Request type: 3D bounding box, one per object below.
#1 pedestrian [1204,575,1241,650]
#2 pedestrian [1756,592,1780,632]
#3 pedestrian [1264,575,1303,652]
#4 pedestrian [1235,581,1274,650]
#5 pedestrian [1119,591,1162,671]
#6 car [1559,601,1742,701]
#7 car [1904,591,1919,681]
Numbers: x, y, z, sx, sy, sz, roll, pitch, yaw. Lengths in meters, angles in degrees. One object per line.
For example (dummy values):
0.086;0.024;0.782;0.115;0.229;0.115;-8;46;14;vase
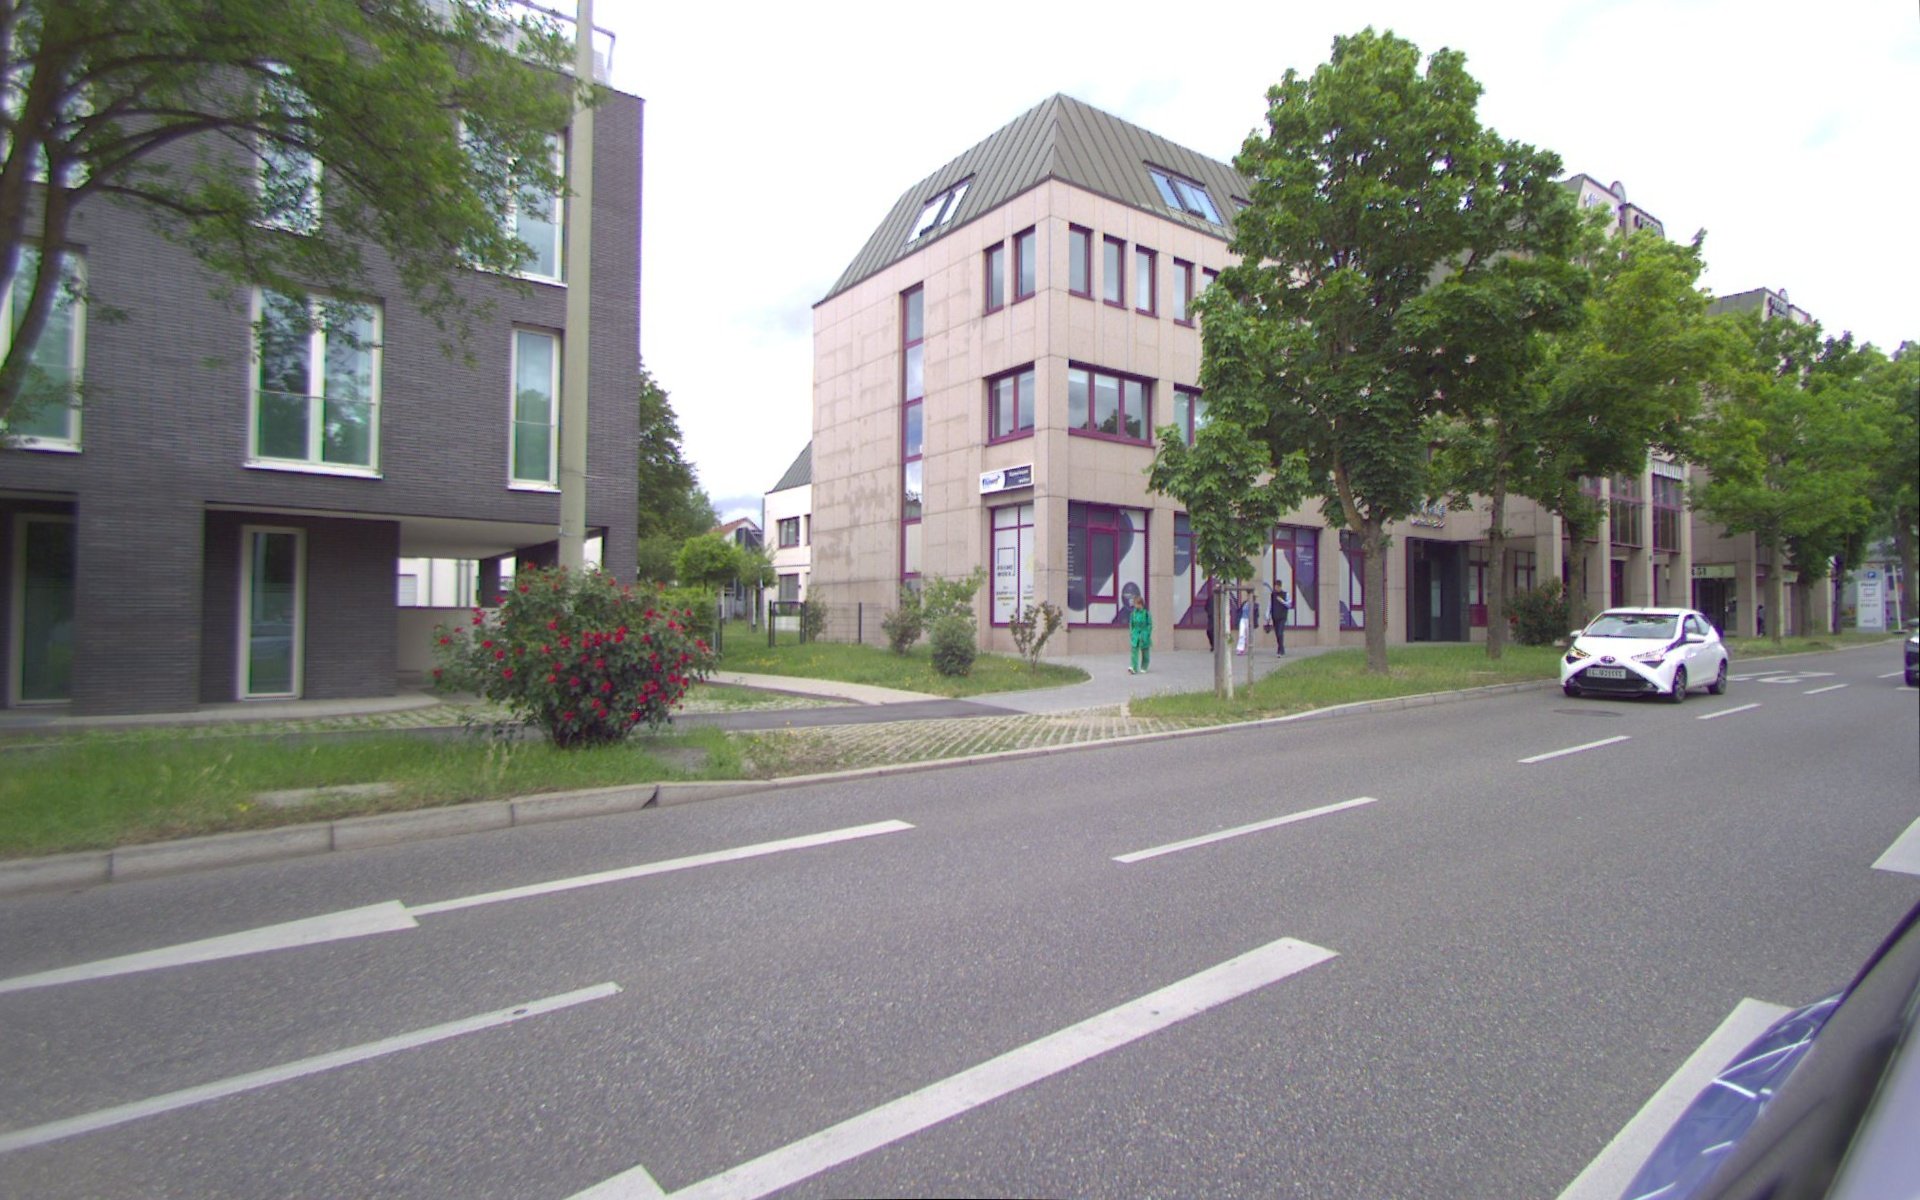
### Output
6.573;0.309;25.358;0.665;1.828;0.642;0;-1;-41;pedestrian
37.873;0.559;47.421;0.932;1.845;0.718;0;0;-41;pedestrian
7.781;0.313;24.361;0.665;1.828;0.642;0;-1;-41;pedestrian
7.226;0.377;24.841;0.665;1.668;0.642;0;-1;-41;pedestrian
3.574;0.600;20.042;0.665;1.537;0.496;0;2;-41;pedestrian
11.404;0.748;16.648;3.473;1.443;1.656;0;1;-41;car
19.259;0.641;18.773;4.234;1.616;1.896;0;0;-38;car
